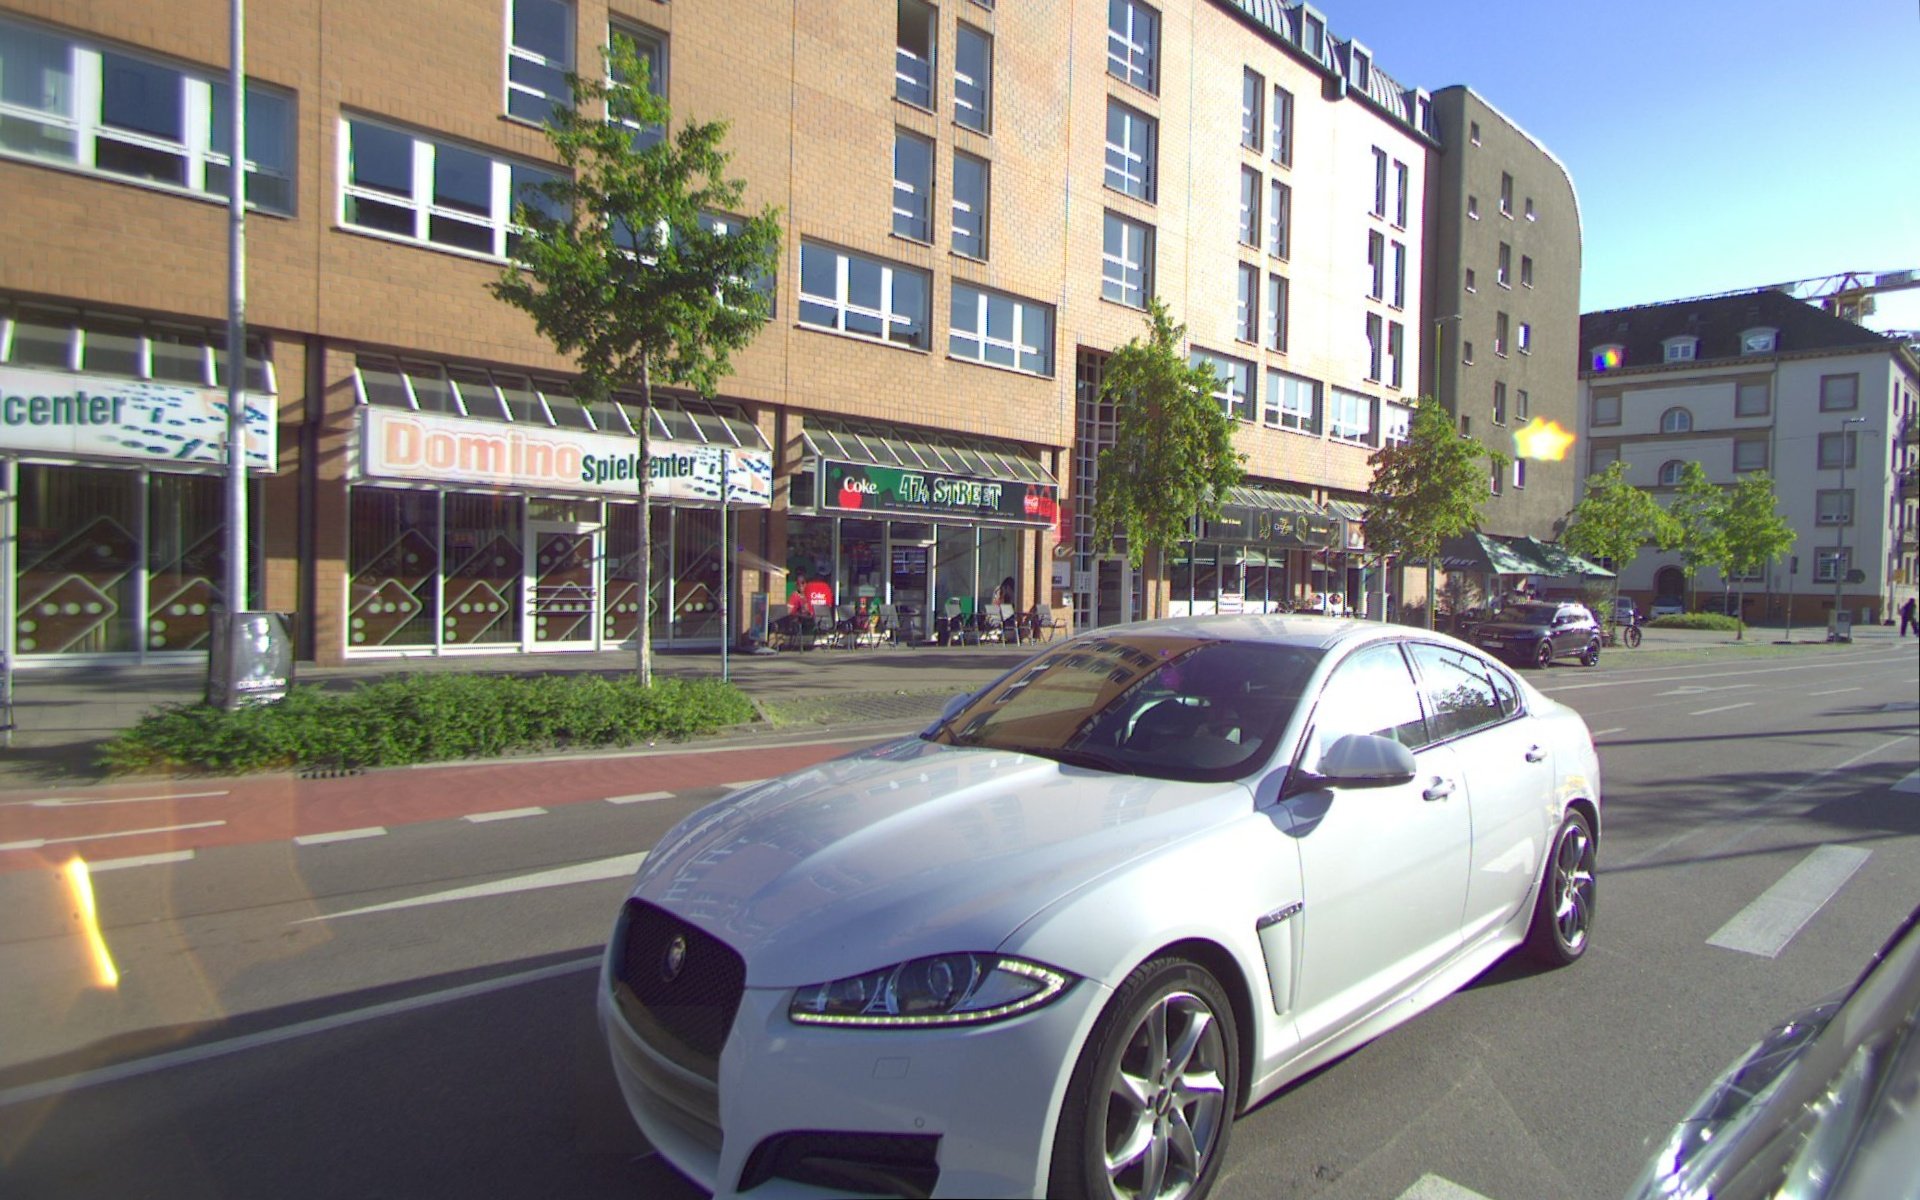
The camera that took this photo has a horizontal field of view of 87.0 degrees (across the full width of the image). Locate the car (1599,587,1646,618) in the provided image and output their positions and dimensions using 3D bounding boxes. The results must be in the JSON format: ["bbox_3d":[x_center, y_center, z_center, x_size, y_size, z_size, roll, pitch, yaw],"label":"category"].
[{"bbox_3d":[32.387,0.119,49.427,1.658,1.493,3.785,0,0,37],"label":"car"}]

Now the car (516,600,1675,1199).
[{"bbox_3d":[1.023,0.720,3.924,4.734,1.432,1.783,0,0,-41],"label":"car"}]

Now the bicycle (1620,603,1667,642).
[{"bbox_3d":[22.015,0.709,32.563,1.965,1.093,0.767,-2,8,-44],"label":"bicycle"}]

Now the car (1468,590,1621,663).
[{"bbox_3d":[14.937,0.622,25.817,4.150,1.657,1.727,0,2,-34],"label":"car"}]

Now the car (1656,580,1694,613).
[{"bbox_3d":[40.810,-0.214,57.750,1.619,1.707,4.381,1,3,37],"label":"car"}]

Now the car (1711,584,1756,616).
[{"bbox_3d":[42.672,-0.012,55.804,1.691,1.708,4.373,0,0,41],"label":"car"}]

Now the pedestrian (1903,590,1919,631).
[{"bbox_3d":[43.174,0.479,45.443,1.083,1.784,0.888,-1,3,-31],"label":"pedestrian"}]

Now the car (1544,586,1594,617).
[{"bbox_3d":[30.614,0.080,50.842,1.629,1.471,3.604,0,0,39],"label":"car"}]

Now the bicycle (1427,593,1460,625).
[{"bbox_3d":[18.527,0.329,38.796,1.511,1.183,0.614,0,3,-44],"label":"bicycle"}]

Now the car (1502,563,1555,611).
[{"bbox_3d":[34.800,-0.876,61.847,1.919,2.640,5.884,2,4,38],"label":"car"}]

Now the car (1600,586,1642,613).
[{"bbox_3d":[38.719,-0.050,59.209,1.689,1.447,4.379,0,1,38],"label":"car"}]

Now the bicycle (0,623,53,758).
[{"bbox_3d":[-8.102,0.776,8.214,0.491,1.035,1.956,0,3,-23],"label":"bicycle"}]
